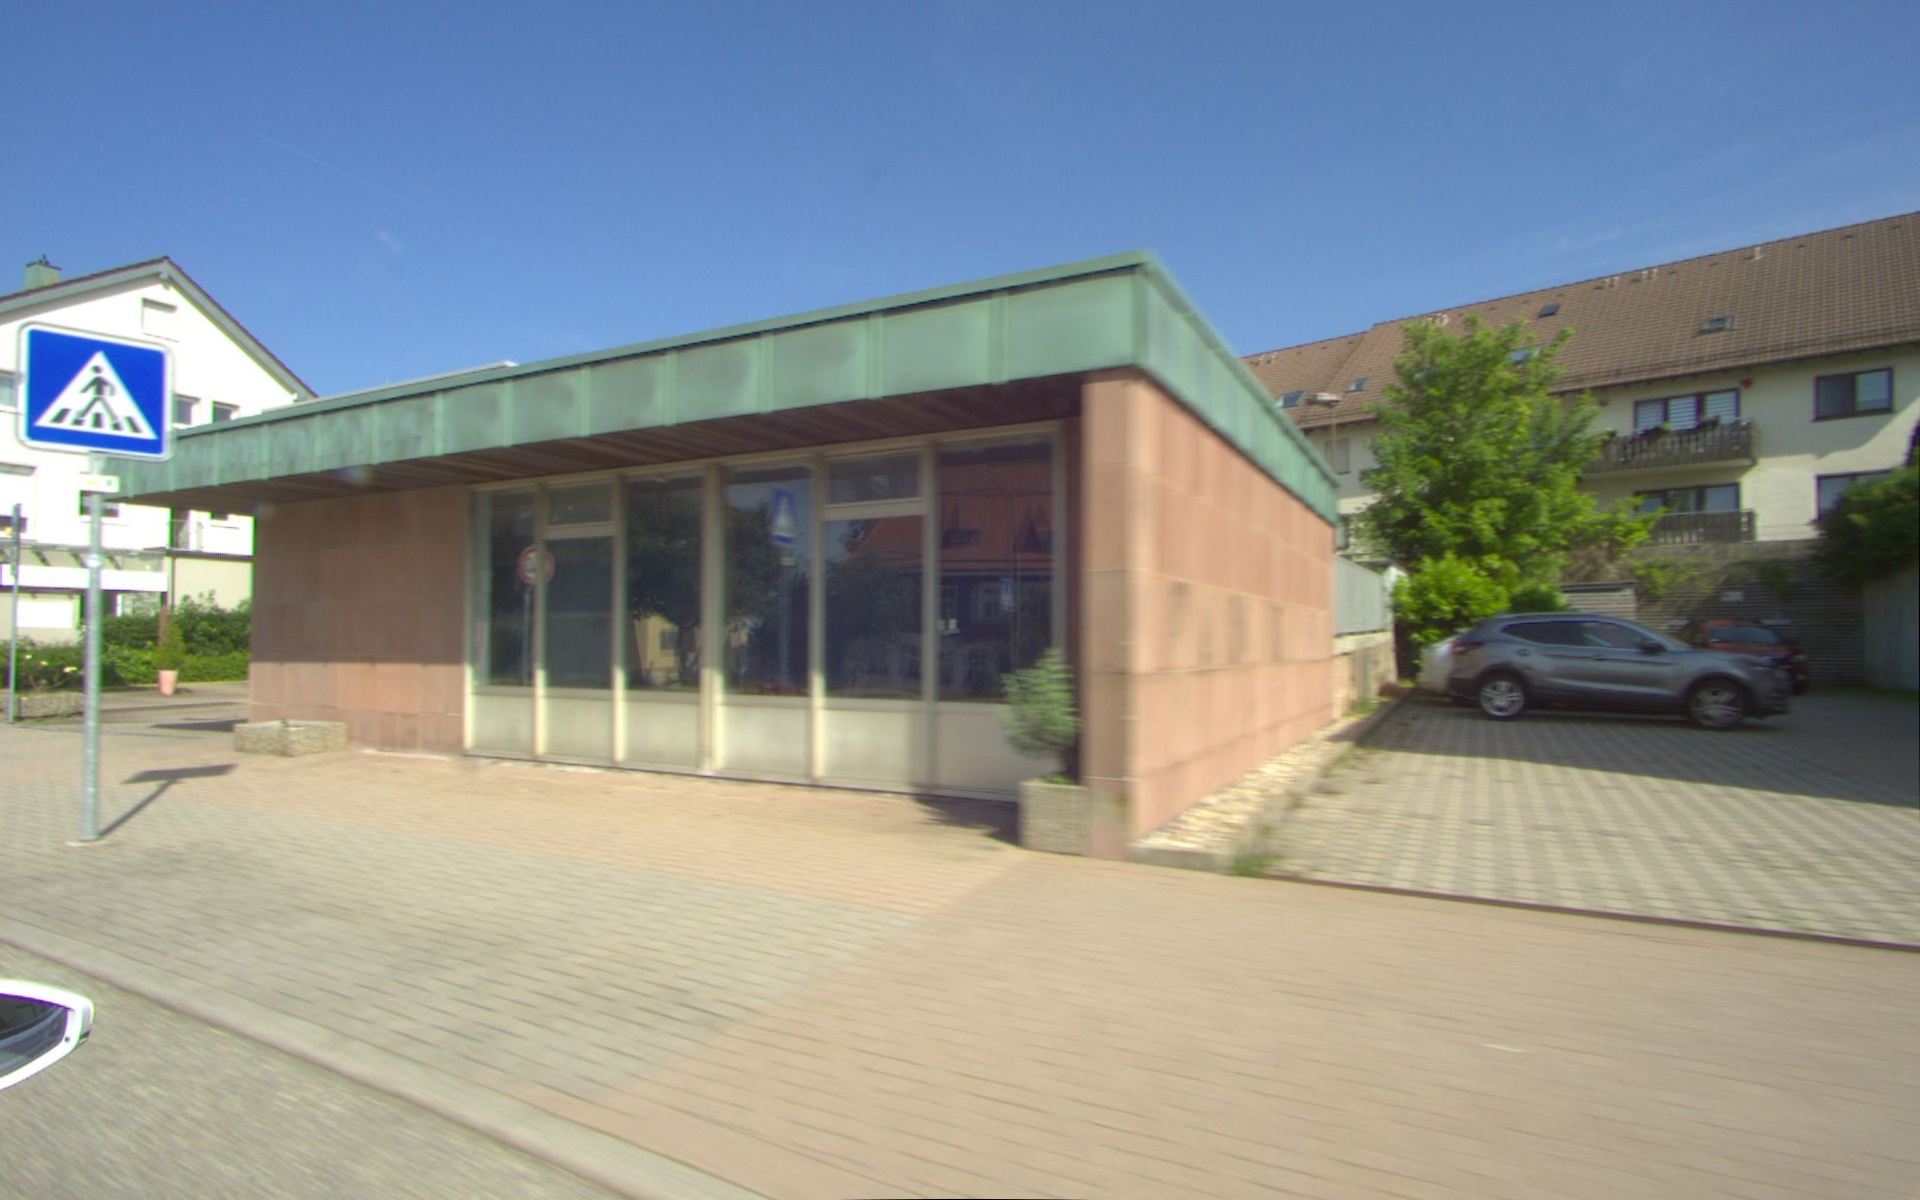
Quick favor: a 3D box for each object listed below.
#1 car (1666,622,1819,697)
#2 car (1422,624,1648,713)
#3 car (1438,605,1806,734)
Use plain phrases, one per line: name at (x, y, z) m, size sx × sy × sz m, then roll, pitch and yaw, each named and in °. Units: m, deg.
car at (17.183, 1.243, 22.192) m, size 1.861 × 1.459 × 3.535 m, roll -1°, pitch 0°, yaw 24°
car at (9.886, 1.132, 17.419) m, size 3.253 × 1.410 × 1.776 m, roll -1°, pitch -2°, yaw 29°
car at (9.566, 0.914, 14.920) m, size 4.312 × 1.671 × 1.914 m, roll 0°, pitch 0°, yaw 30°
